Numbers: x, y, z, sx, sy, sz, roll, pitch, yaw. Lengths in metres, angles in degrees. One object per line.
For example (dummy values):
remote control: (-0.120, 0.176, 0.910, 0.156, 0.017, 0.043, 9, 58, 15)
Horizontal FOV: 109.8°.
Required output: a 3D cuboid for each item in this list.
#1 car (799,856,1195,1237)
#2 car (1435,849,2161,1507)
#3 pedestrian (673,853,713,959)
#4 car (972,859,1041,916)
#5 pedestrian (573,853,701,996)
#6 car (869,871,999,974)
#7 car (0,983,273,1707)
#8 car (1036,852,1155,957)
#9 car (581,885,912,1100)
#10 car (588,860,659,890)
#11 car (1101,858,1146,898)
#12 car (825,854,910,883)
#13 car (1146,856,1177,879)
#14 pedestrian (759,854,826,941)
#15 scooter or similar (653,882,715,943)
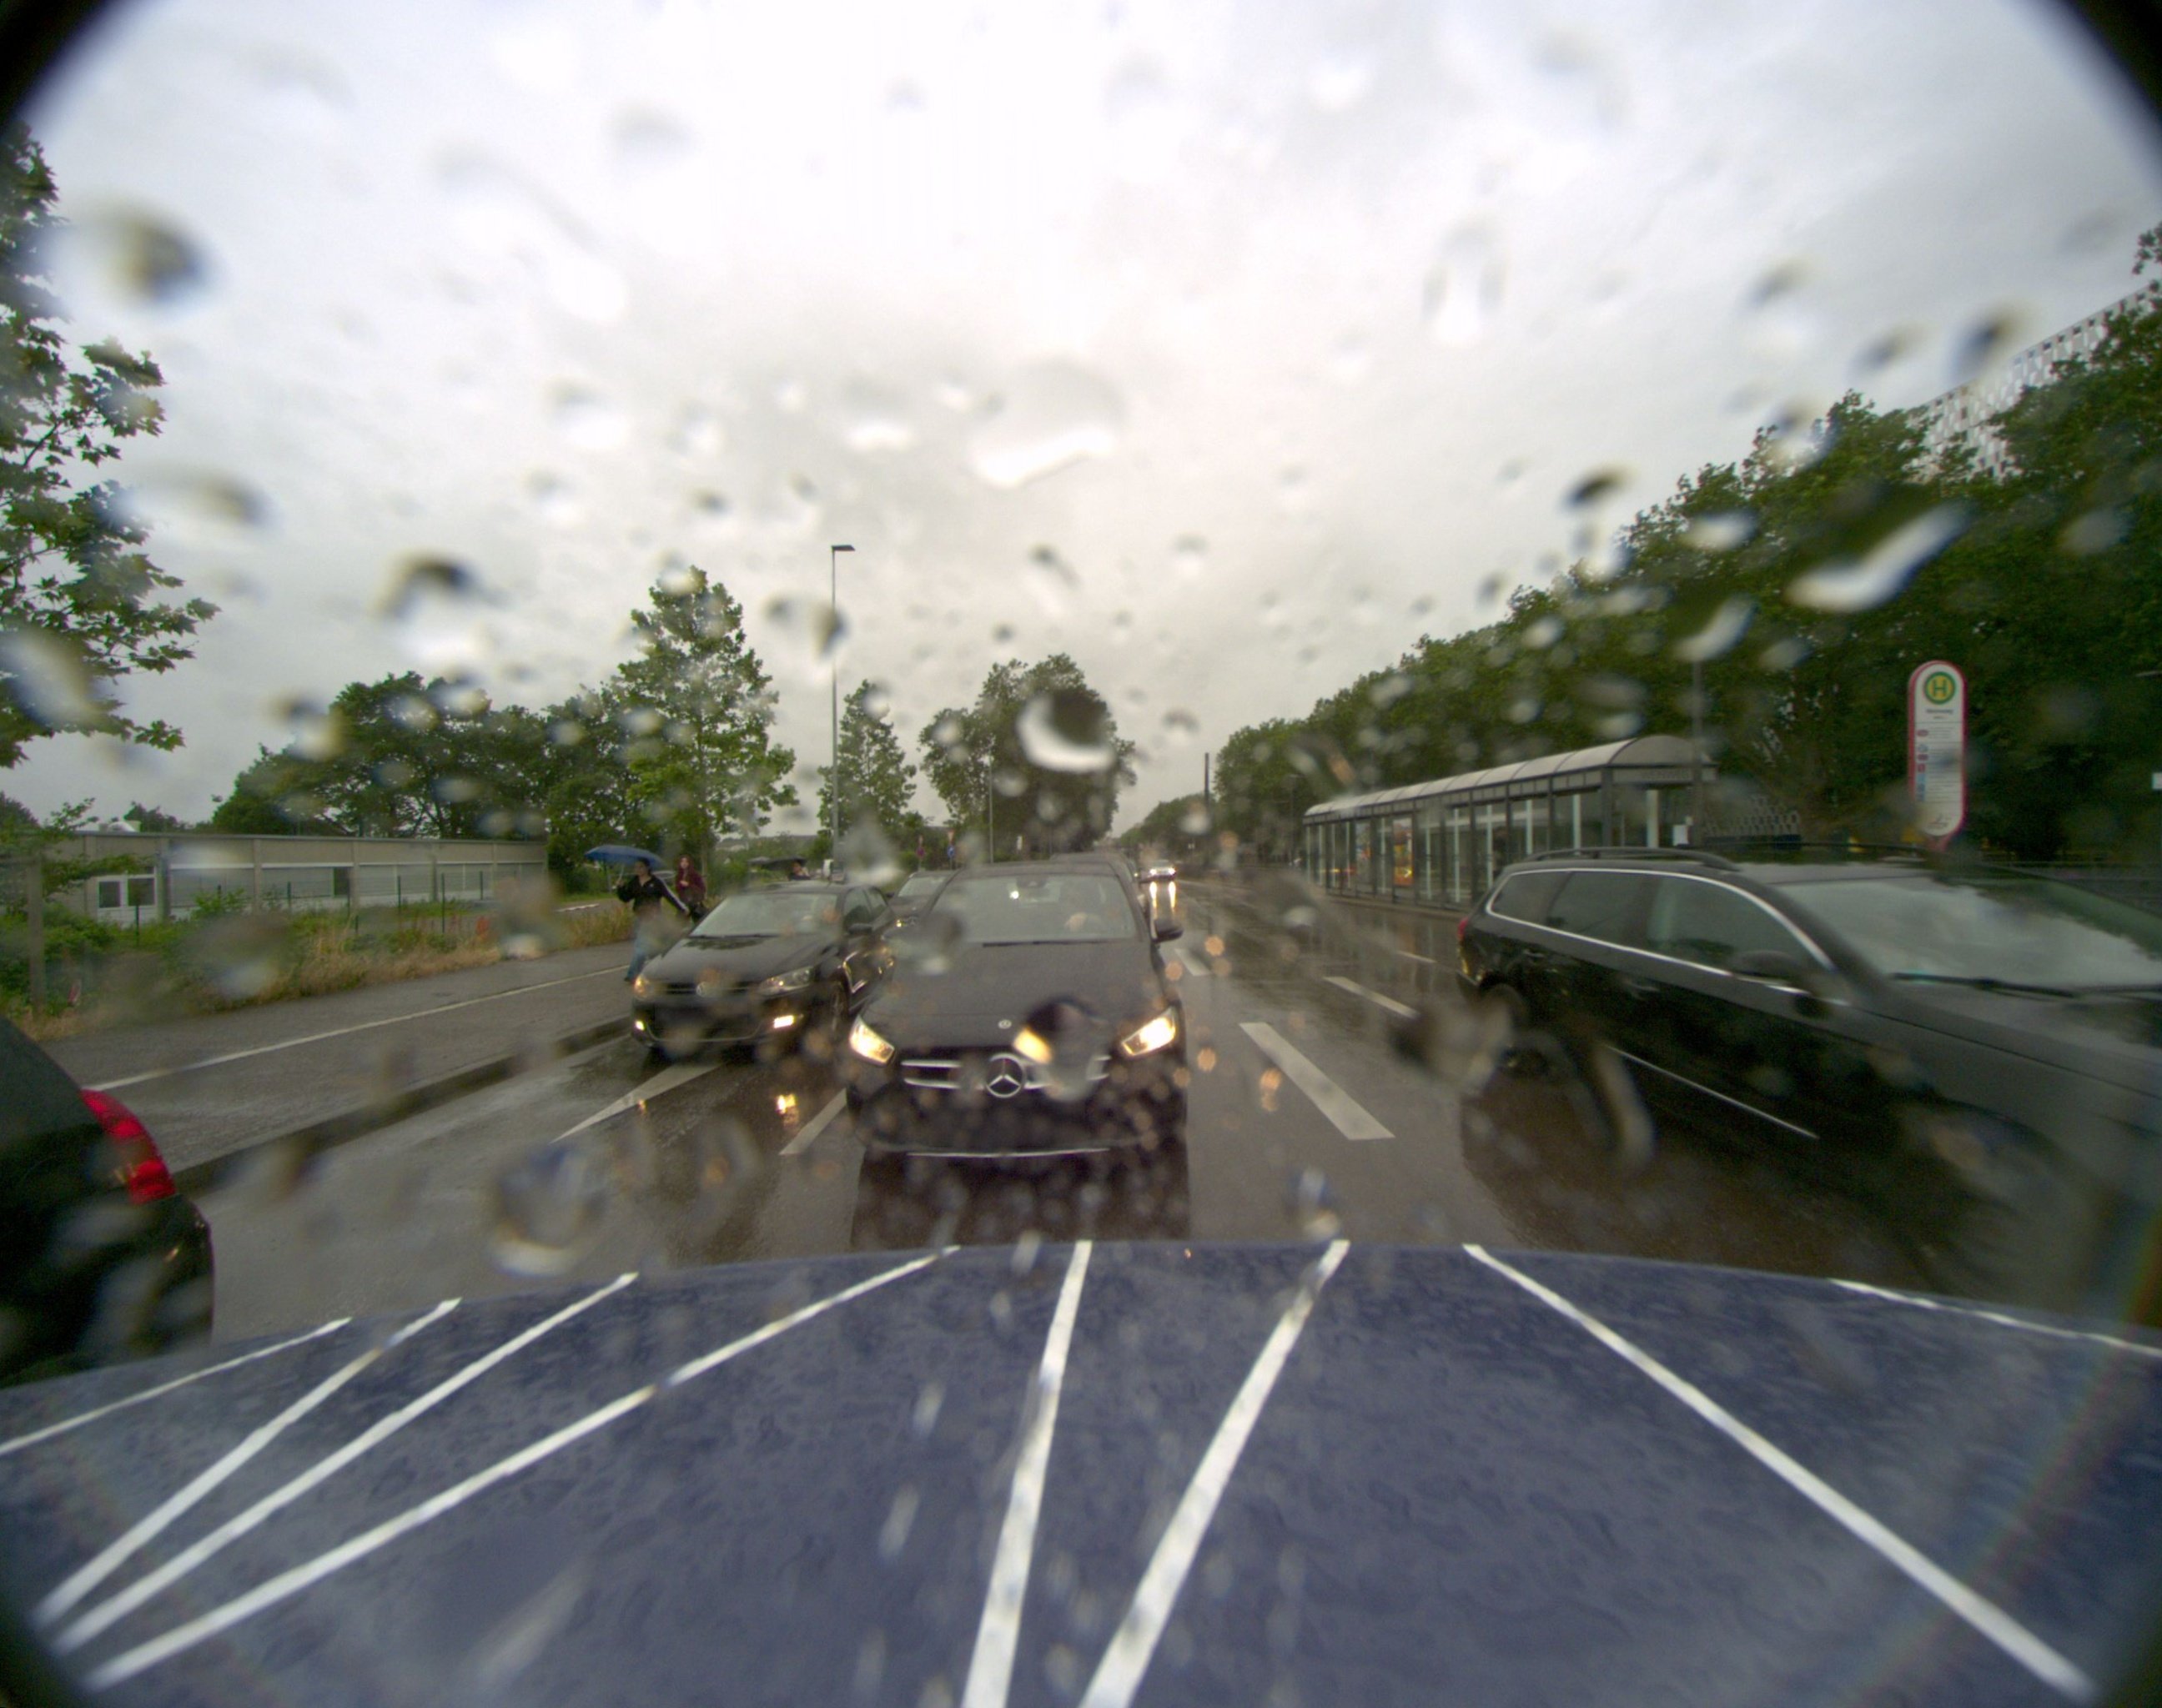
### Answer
car: (-0.342, 0.860, 5.437, 1.690, 1.578, 4.163, -2, 1, 1)
car: (3.521, 0.772, 3.468, 1.775, 1.492, 4.597, -2, 1, 2)
pedestrian: (-6.147, 0.812, 12.055, 0.401, 1.652, 0.441, 1, 1, 0)
car: (-2.202, 0.961, 23.485, 1.703, 1.461, 4.121, -2, 1, 0)
pedestrian: (-5.708, 0.869, 9.841, 1.082, 1.746, 0.969, 0, 1, 0)
car: (-2.721, 1.214, 14.905, 1.698, 1.565, 3.813, -2, 1, 1)
car: (-3.010, 1.077, 0.220, 1.633, 1.420, 3.624, -2, 0, 0)
car: (0.198, 0.726, 12.572, 1.633, 1.420, 3.624, -2, 0, 0)
car: (-2.907, 1.114, 7.512, 1.633, 1.420, 3.624, -2, 0, 0)
car: (-33.970, 1.516, 56.517, 3.996, 2.002, 2.000, -2, 1, 2)
car: (1.888, 1.045, 34.887, 1.794, 1.597, 3.999, -2, 1, 0)
car: (-13.429, 0.892, 48.037, 4.759, 1.640, 1.999, -2, 1, -2)
car: (6.009, 0.993, 57.185, 1.794, 1.597, 3.999, -2, 1, 0)
pedestrian: (-5.913, 0.868, 15.603, 1.025, 1.698, 0.891, 1, 1, 0)
scooter or similar: (-8.216, 1.185, 15.807, 0.381, 1.123, 1.777, 0, 1, -1)
